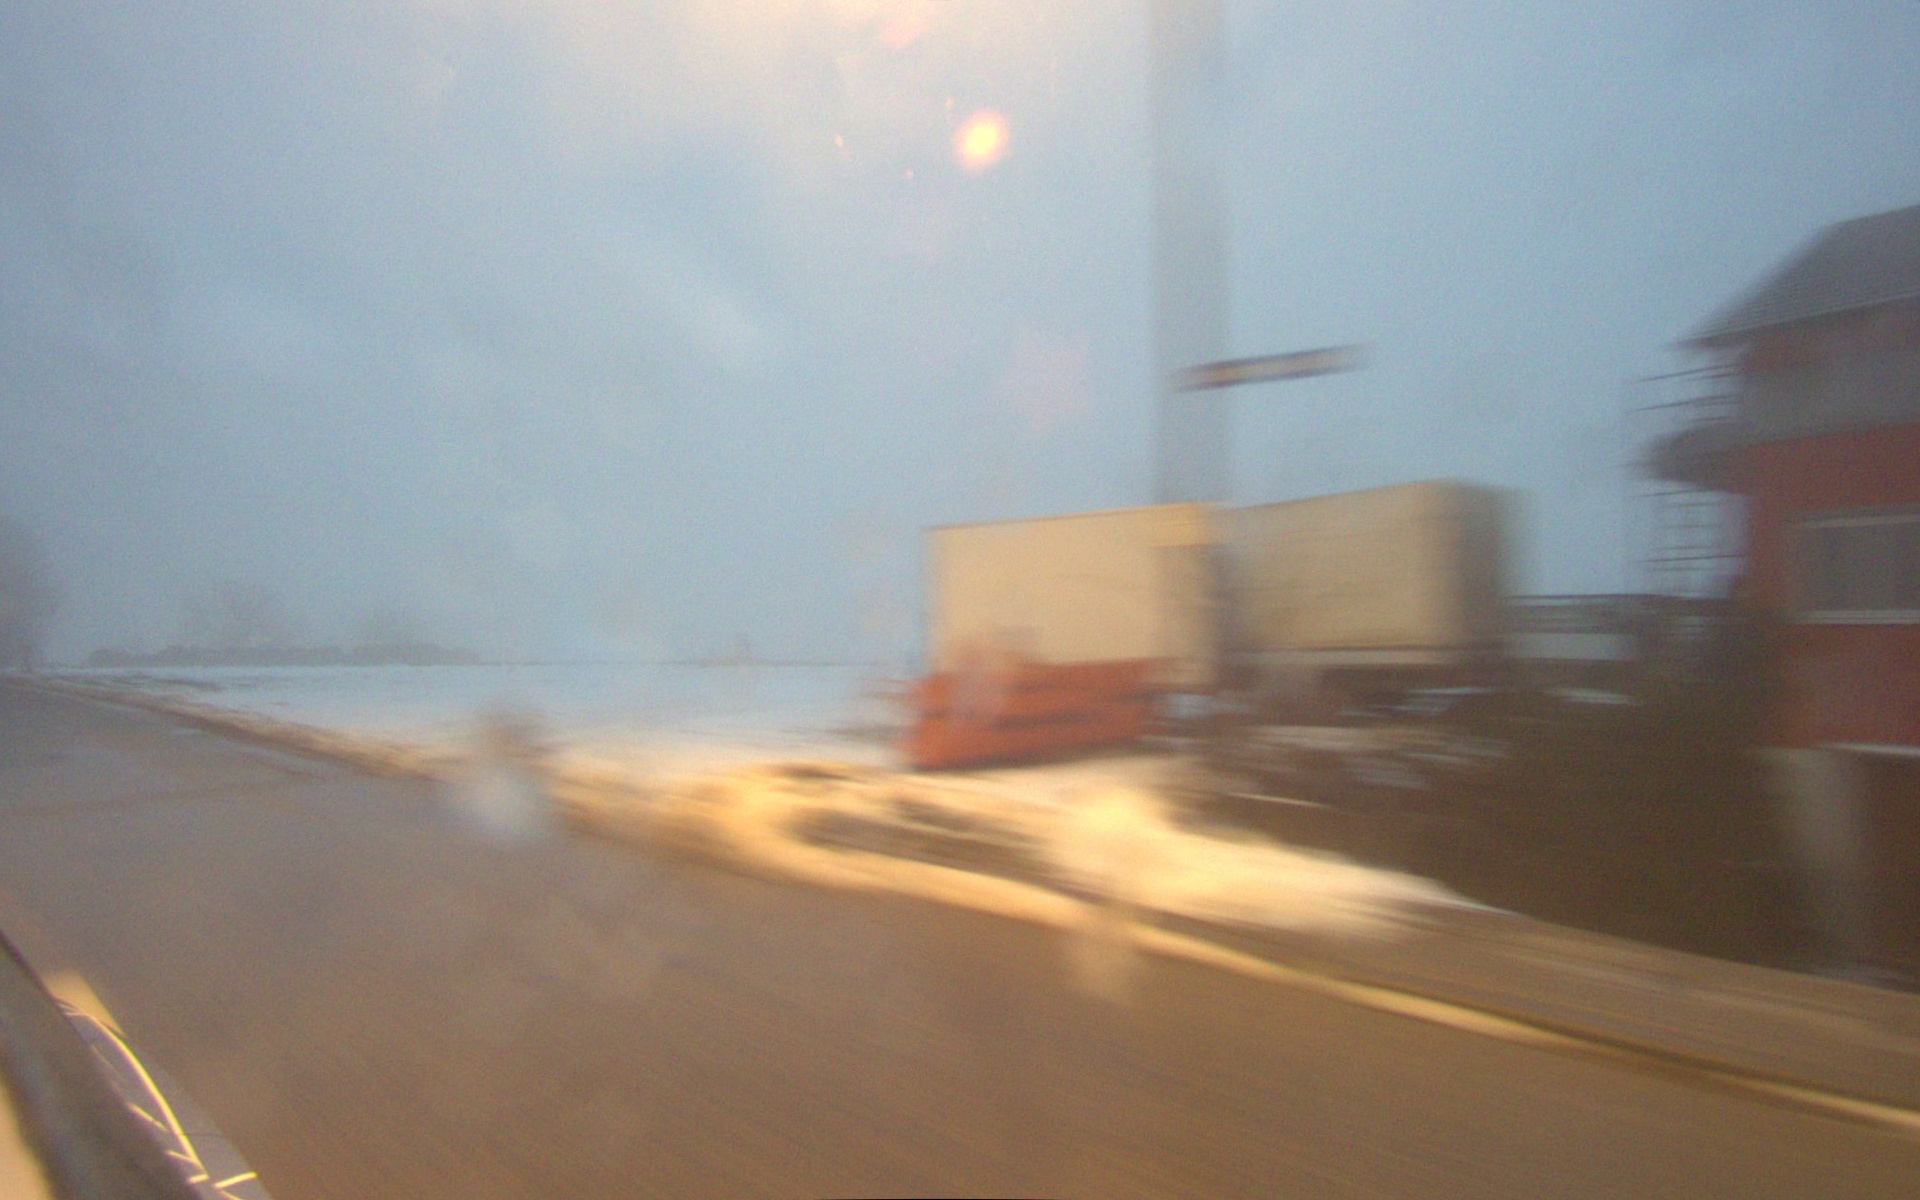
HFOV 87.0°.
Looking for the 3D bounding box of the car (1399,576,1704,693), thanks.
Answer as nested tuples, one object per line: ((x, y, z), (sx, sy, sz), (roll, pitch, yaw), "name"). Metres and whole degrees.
((9.894, 0.633, 17.199), (1.968, 1.730, 4.008), (3, -4, -38), "car")

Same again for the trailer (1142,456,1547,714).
((4.368, -0.032, 12.007), (1.968, 2.508, 4.016), (3, -4, -40), "trailer")

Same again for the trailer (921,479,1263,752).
((1.473, 0.213, 11.172), (3.422, 2.625, 1.682), (-1, -4, 22), "trailer")

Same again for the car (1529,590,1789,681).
((14.215, 0.767, 20.739), (1.969, 1.675, 4.005), (3, -4, -42), "car")
